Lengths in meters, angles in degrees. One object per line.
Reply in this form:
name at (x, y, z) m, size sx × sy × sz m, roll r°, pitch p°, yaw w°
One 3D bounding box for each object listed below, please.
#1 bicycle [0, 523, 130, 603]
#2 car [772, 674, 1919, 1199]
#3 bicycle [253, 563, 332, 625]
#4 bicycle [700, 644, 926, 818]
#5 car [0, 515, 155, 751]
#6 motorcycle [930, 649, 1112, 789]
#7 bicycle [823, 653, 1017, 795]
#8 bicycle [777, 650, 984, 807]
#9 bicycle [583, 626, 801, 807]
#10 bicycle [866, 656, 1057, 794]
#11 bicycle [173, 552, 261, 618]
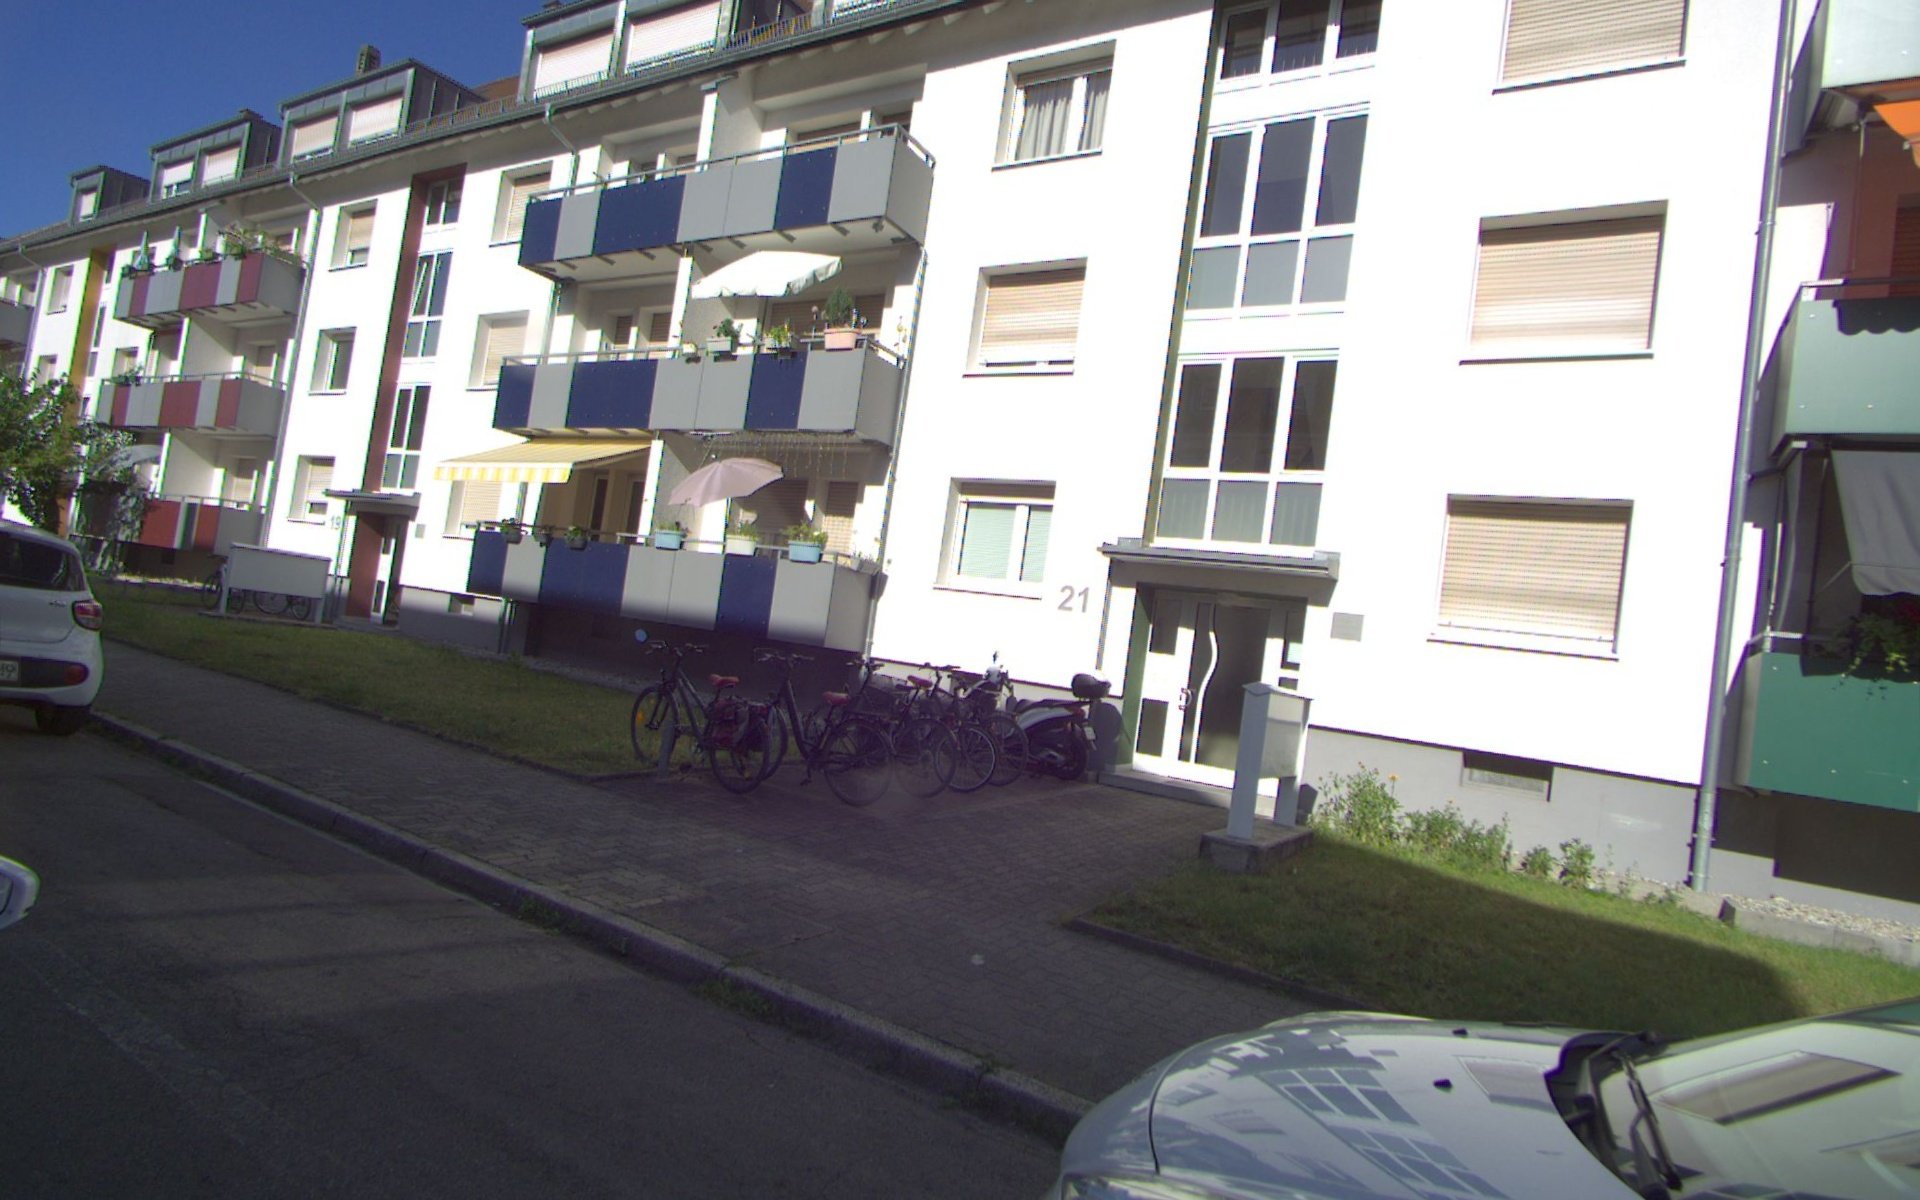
bicycle at (-16.254, -0.690, 17.620) m, size 0.866 × 1.143 × 2.425 m, roll 7°, pitch -2°, yaw 37°
car at (1.859, 1.154, 1.209) m, size 4.029 × 1.432 × 1.697 m, roll 7°, pitch -5°, yaw 31°
bicycle at (-13.767, -0.129, 20.728) m, size 1.942 × 1.049 × 0.521 m, roll 7°, pitch -1°, yaw 32°
bicycle at (-1.283, 1.078, 8.618) m, size 1.841 × 1.146 × 0.578 m, roll 7°, pitch 0°, yaw 31°
car at (-8.056, 0.006, 7.564) m, size 3.789 × 1.524 × 1.720 m, roll 7°, pitch -6°, yaw 31°
motorcycle at (0.665, 1.312, 11.399) m, size 1.944 × 1.253 × 0.442 m, roll 7°, pitch -1°, yaw 32°
bicycle at (-0.421, 1.194, 10.044) m, size 1.841 × 1.096 × 0.539 m, roll 7°, pitch 1°, yaw 31°
bicycle at (-0.767, 1.157, 9.416) m, size 1.841 × 1.134 × 0.544 m, roll 7°, pitch -1°, yaw 31°
bicycle at (-2.265, 0.926, 8.395) m, size 1.842 × 1.184 × 0.545 m, roll 7°, pitch 0°, yaw 33°
bicycle at (-0.004, 1.285, 10.636) m, size 1.841 × 1.129 × 0.597 m, roll 7°, pitch -1°, yaw 31°
bicycle at (-14.542, -0.304, 19.670) m, size 2.250 × 1.061 × 0.521 m, roll 7°, pitch 0°, yaw 32°
